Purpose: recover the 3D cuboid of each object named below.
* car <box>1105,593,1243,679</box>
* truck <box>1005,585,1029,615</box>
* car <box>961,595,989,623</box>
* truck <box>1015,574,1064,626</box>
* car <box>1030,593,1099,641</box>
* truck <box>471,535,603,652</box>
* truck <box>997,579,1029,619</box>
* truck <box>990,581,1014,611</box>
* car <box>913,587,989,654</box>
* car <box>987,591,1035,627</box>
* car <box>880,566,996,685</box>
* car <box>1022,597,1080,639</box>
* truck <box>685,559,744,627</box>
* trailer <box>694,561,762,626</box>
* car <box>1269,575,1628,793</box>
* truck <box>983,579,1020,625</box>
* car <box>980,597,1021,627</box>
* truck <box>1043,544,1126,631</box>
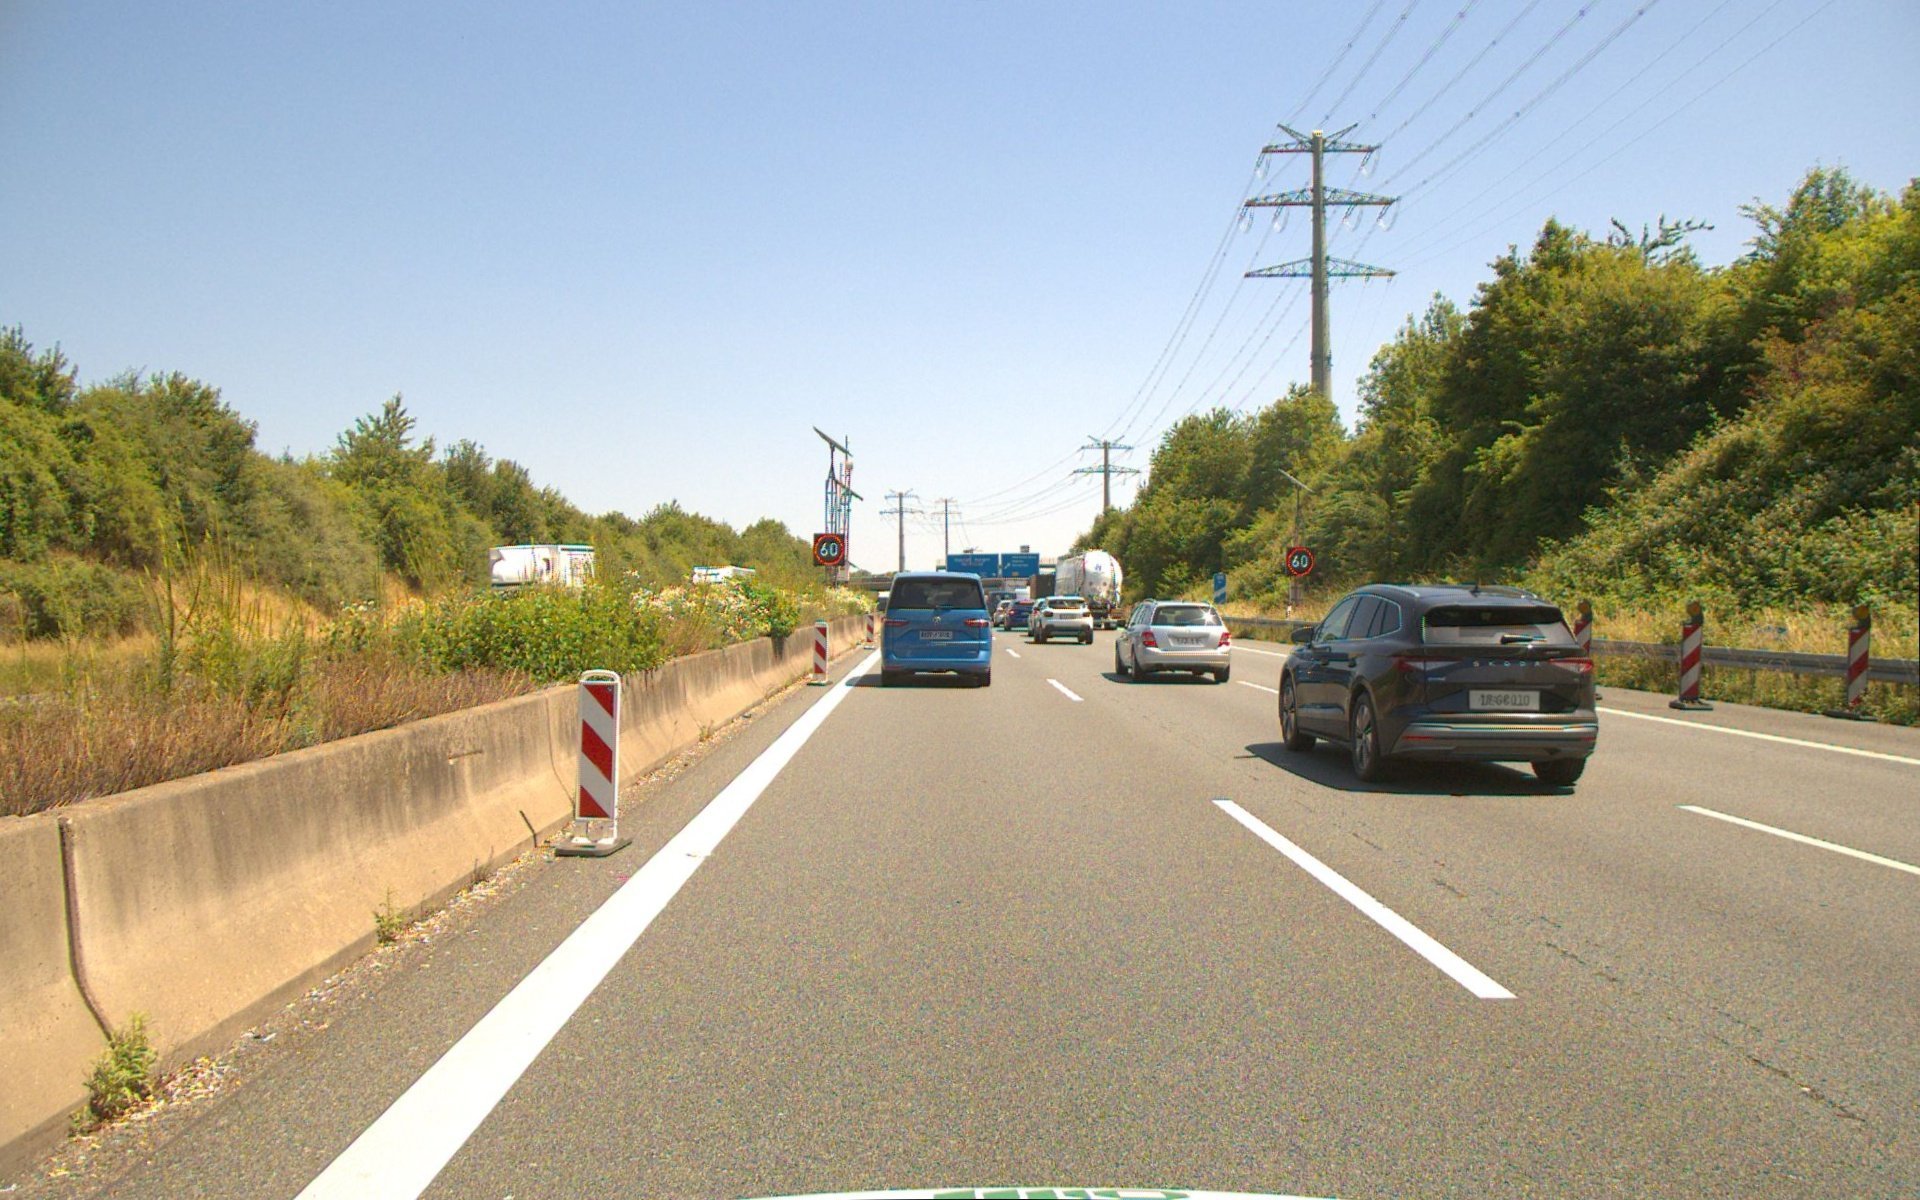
[{"bbox_3d":[3.901,0.629,30.843,1.784,1.462,4.381,1,0,-3],"label":"car"},{"bbox_3d":[5.474,-0.006,159.605,1.953,2.771,5.678,1,0,-2],"label":"truck"},{"bbox_3d":[1.120,0.661,126.073,1.953,2.049,3.998,1,0,-2],"label":"car"},{"bbox_3d":[5.852,-0.017,123.252,2.591,3.600,12.547,1,0,-2],"label":"truck"},{"bbox_3d":[3.467,0.549,55.479,1.870,1.534,3.919,1,0,-3],"label":"car"},{"bbox_3d":[-15.834,-0.219,62.613,2.707,3.956,9.027,-3,0,-1],"label":"truck"},{"bbox_3d":[6.079,-0.123,191.708,2.879,4.366,12.547,1,0,-2],"label":"truck"},{"bbox_3d":[6.308,-0.621,252.875,2.879,4.366,12.547,1,0,-2],"label":"truck"},{"bbox_3d":[-0.288,0.520,43.409,1.870,1.659,4.382,0,0,-2],"label":"car"},{"bbox_3d":[2.345,0.406,76.644,1.870,1.542,4.381,1,0,-3],"label":"car"},{"bbox_3d":[-0.466,0.415,29.081,1.834,1.912,4.381,1,0,-3],"label":"car"},{"bbox_3d":[3.642,0.717,66.706,1.870,1.597,4.381,1,0,-3],"label":"car"},{"bbox_3d":[-16.398,-0.467,110.793,2.956,4.239,5.804,-3,0,-1],"label":"truck"},{"bbox_3d":[-16.494,-0.468,118.568,2.956,4.239,14.017,-3,0,-1],"label":"trailer"},{"bbox_3d":[4.146,0.630,14.836,1.791,1.642,4.429,1,0,-2],"label":"car"},{"bbox_3d":[2.522,0.118,101.864,1.953,2.771,5.678,1,0,-2],"label":"truck"},{"bbox_3d":[2.141,0.627,89.066,1.870,1.542,4.381,1,0,-3],"label":"car"},{"bbox_3d":[6.437,-0.604,88.209,2.591,4.143,16.434,1,0,-2],"label":"truck"}]
